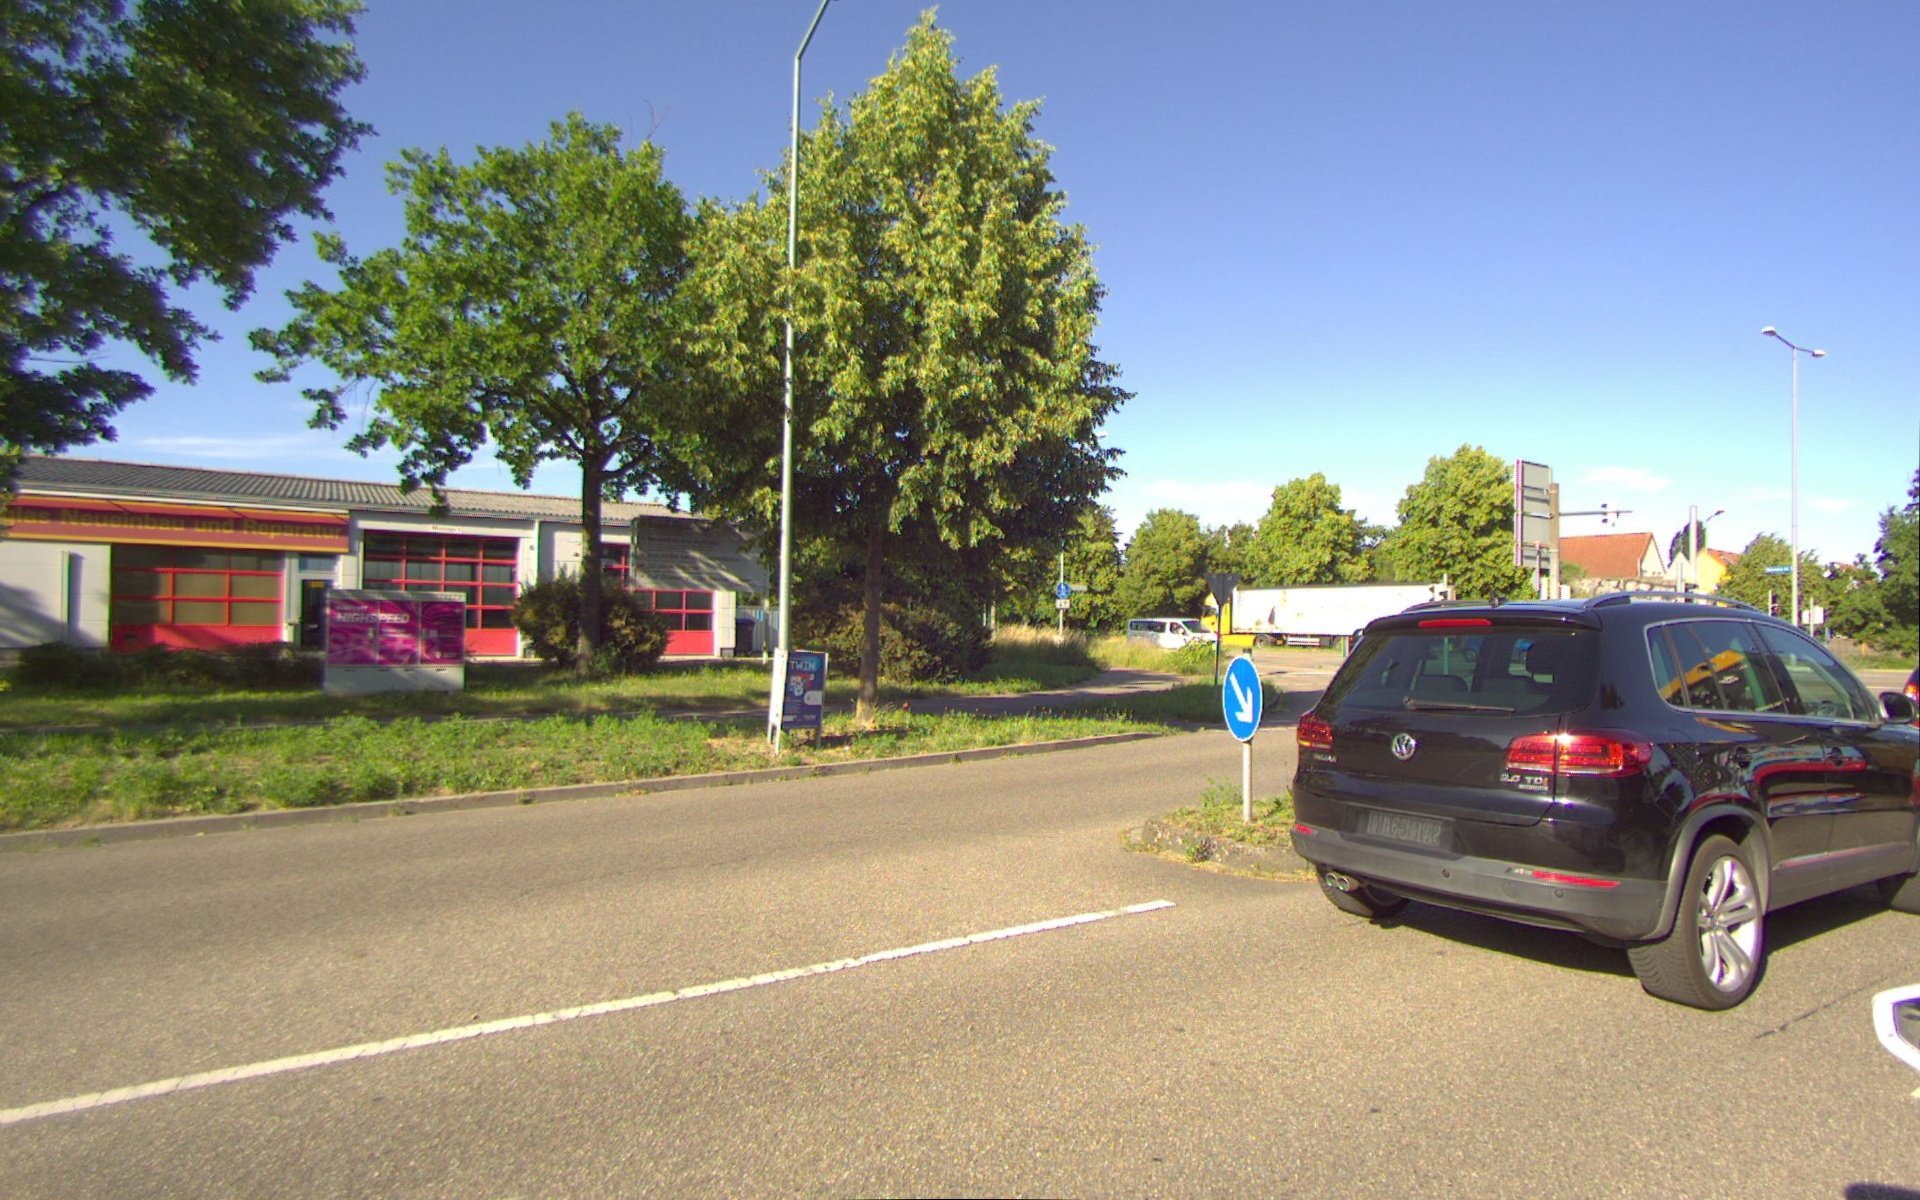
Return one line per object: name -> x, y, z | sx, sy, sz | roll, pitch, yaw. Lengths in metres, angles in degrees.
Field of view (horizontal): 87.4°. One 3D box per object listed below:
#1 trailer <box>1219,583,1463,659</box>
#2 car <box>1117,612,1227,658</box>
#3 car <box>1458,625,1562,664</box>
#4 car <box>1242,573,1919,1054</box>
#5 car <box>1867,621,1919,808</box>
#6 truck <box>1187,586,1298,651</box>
trailer -> 22.625, 1.194, 61.236 | 3.406, 4.066, 14.560 | 1, -1, -35
car -> 10.513, 1.712, 50.287 | 2.160, 2.146, 5.350 | 2, -1, -35
car -> 23.769, 1.907, 43.496 | 1.733, 1.581, 3.559 | 2, -2, -35
car -> 3.562, 0.823, 5.315 | 3.954, 1.675, 1.763 | 1, -3, -31
car -> 10.240, 1.008, 9.216 | 3.954, 1.610, 1.753 | 1, -3, -31
truck -> 18.723, 1.205, 66.821 | 3.407, 4.066, 6.433 | 1, -1, -35
